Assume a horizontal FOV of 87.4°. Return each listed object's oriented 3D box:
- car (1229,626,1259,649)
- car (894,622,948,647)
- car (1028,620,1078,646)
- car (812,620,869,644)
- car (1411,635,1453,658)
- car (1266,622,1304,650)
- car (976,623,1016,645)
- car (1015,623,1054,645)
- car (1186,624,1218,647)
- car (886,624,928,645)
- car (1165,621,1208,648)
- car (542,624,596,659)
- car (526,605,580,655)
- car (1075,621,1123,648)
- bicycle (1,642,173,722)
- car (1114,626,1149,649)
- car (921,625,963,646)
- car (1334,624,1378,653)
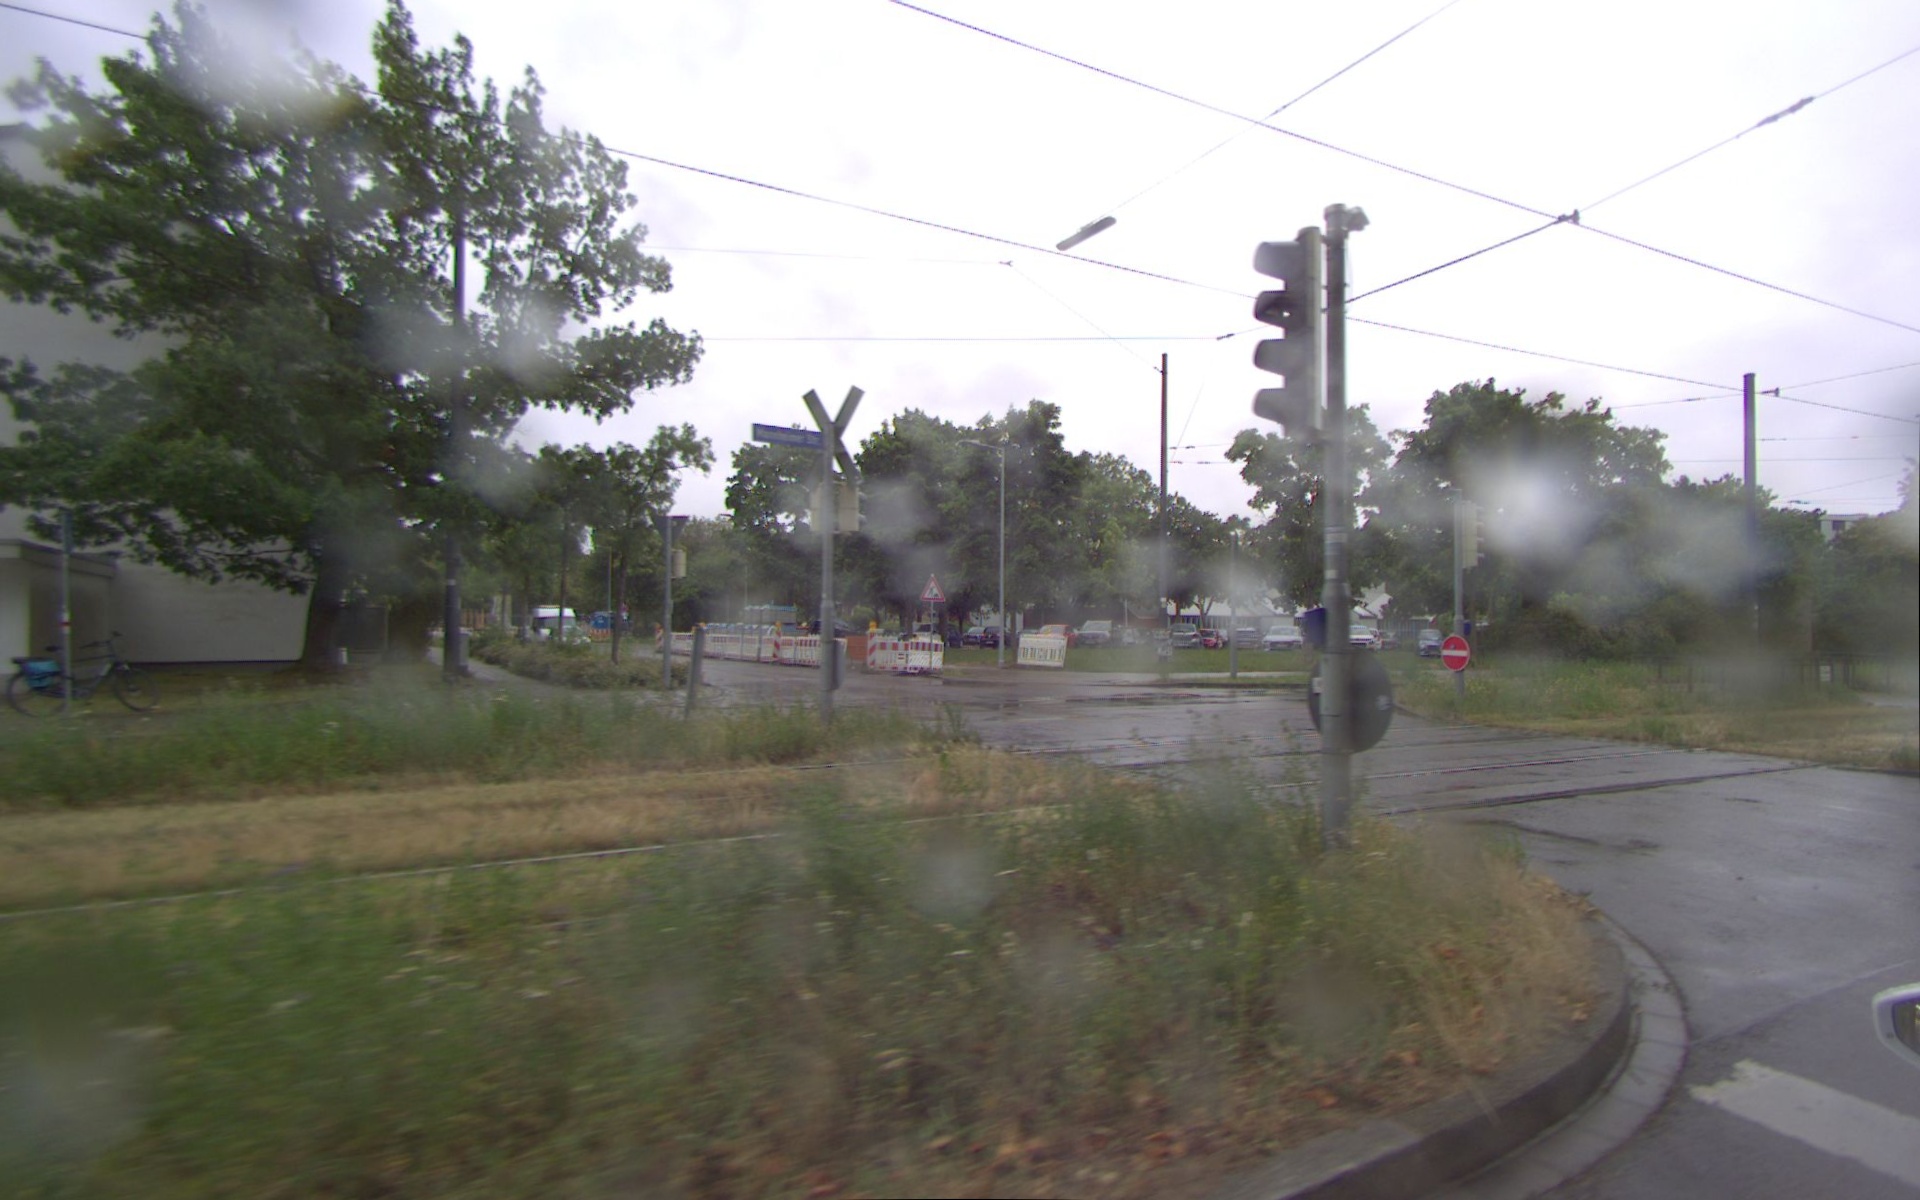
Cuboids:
[{"bbox_3d":[16.657,2.192,58.858,1.632,1.342,3.744,0,-2,17],"label":"car"},{"bbox_3d":[-2.060,1.877,54.274,1.633,1.265,3.743,0,-2,20],"label":"car"},{"bbox_3d":[4.795,1.704,51.409,1.633,1.265,3.743,0,-2,20],"label":"car"},{"bbox_3d":[-6.552,1.777,55.466,1.633,1.265,3.743,0,-2,20],"label":"car"},{"bbox_3d":[26.240,2.568,55.959,1.632,1.265,3.744,0,-2,17],"label":"car"},{"bbox_3d":[15.230,1.682,47.131,1.632,1.265,3.744,0,-2,17],"label":"car"},{"bbox_3d":[2.361,2.204,64.905,1.632,1.342,3.744,0,-2,17],"label":"car"},{"bbox_3d":[4.749,2.140,63.387,1.632,1.342,3.744,0,-2,17],"label":"car"},{"bbox_3d":[14.461,2.123,59.912,1.632,1.342,3.744,0,-2,17],"label":"car"},{"bbox_3d":[-3.476,2.258,66.455,1.632,1.342,3.744,0,-2,17],"label":"car"},{"bbox_3d":[11.238,1.696,49.713,1.633,1.265,3.743,0,-2,20],"label":"car"},{"bbox_3d":[-18.197,1.920,46.669,1.733,1.550,3.599,1,-2,-31],"label":"car"},{"bbox_3d":[-21.175,1.548,52.148,1.896,2.478,4.433,1,-2,-31],"label":"car"},{"bbox_3d":[7.000,1.724,50.359,1.633,1.265,3.743,0,-2,20],"label":"car"},{"bbox_3d":[-12.812,1.170,14.802,0.474,1.033,1.836,3,1,34],"label":"bicycle"},{"bbox_3d":[10.513,2.318,61.560,1.632,1.342,3.744,0,-2,17],"label":"car"},{"bbox_3d":[-1.160,2.330,65.761,1.632,1.342,3.744,0,-2,17],"label":"car"},{"bbox_3d":[18.287,1.779,46.484,1.632,1.265,3.744,0,-2,17],"label":"car"}]
